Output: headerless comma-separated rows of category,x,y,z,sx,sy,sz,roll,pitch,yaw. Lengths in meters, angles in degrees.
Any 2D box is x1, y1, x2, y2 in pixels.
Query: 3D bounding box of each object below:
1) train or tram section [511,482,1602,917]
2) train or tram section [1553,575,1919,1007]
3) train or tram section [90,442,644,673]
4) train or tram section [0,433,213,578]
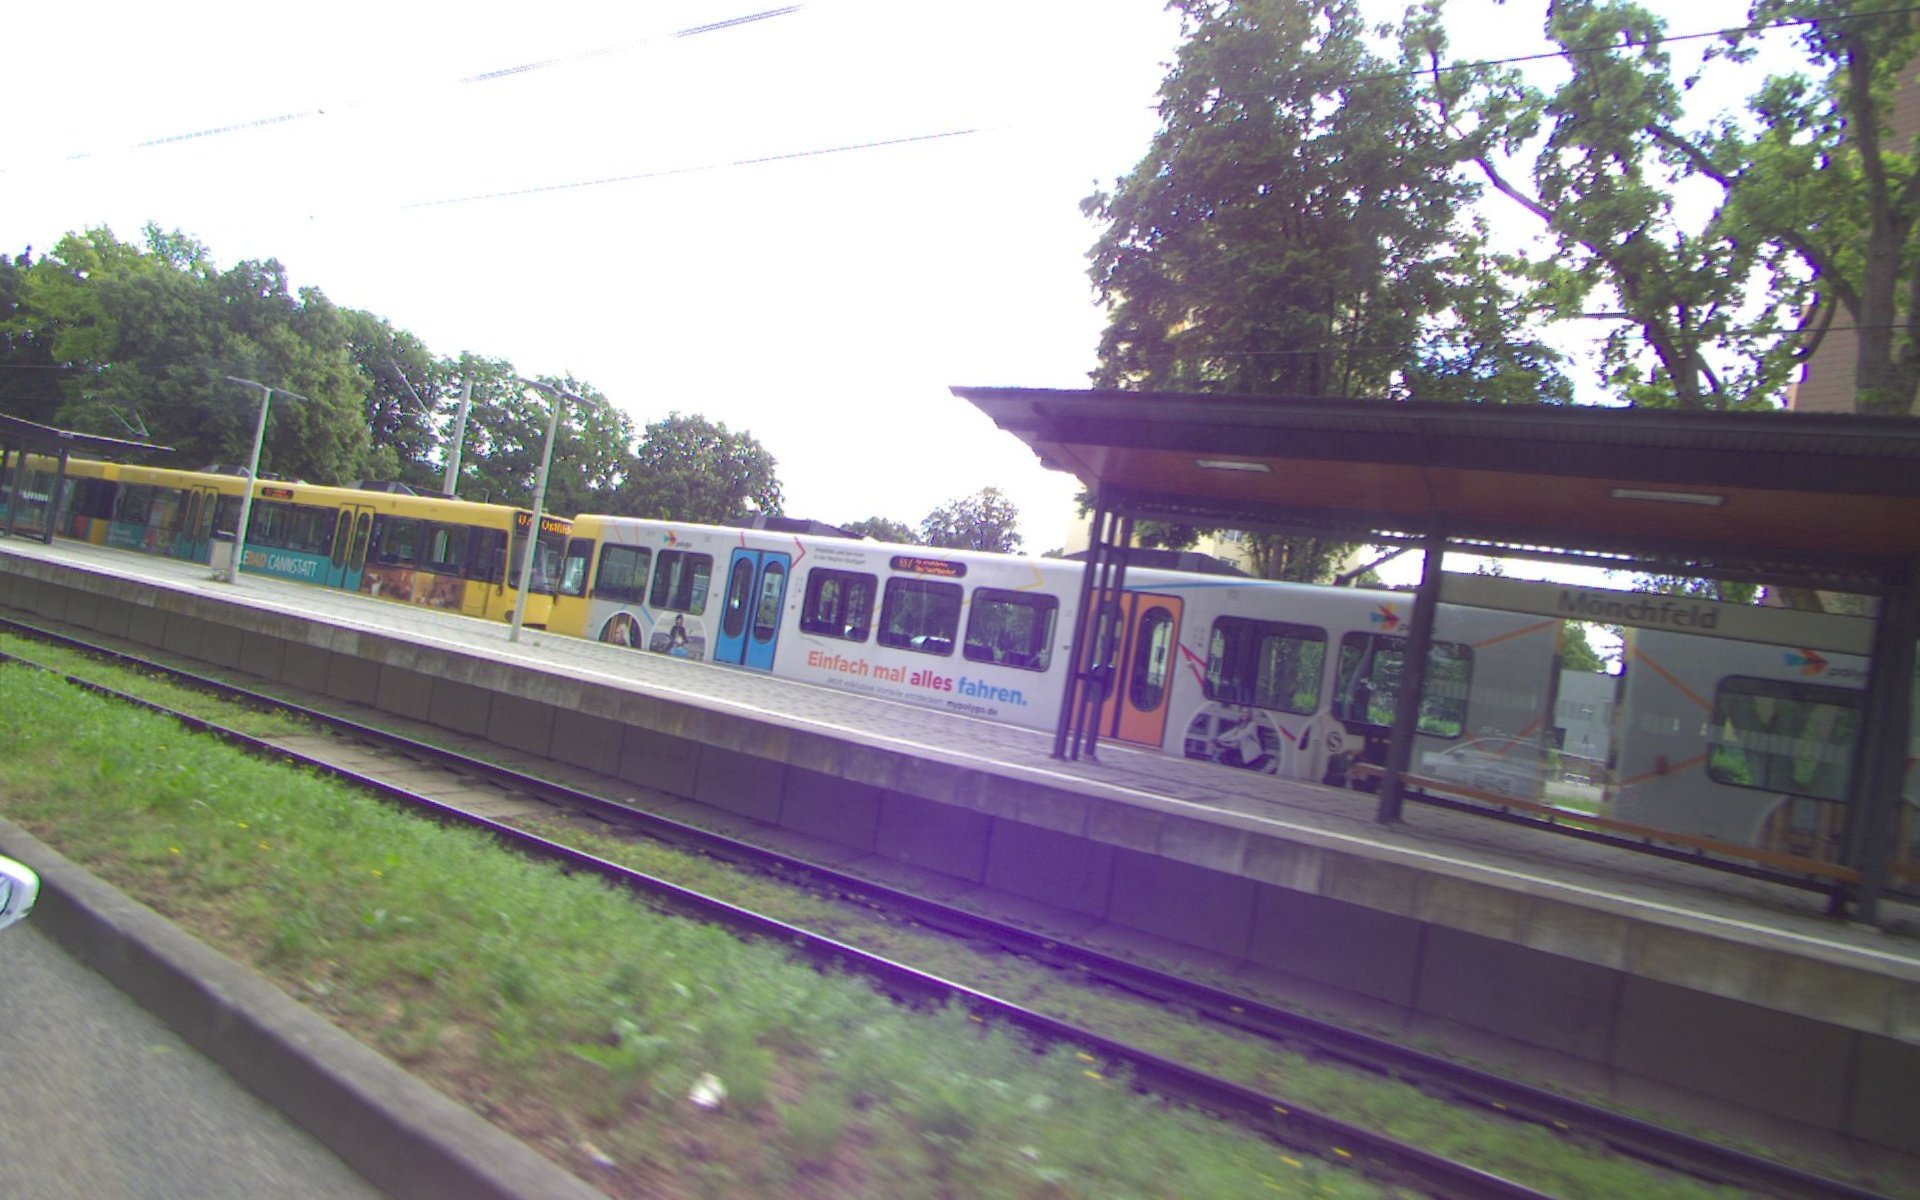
train or tram section,-0.389,0.695,17.091,18.617,3.839,2.822,8,-3,32
train or tram section,14.909,2.727,6.884,18.241,3.776,2.819,7,-3,36
train or tram section,-16.614,-1.516,26.650,19.175,3.777,2.824,8,-3,29
train or tram section,-33.488,-3.836,35.709,19.172,3.627,2.824,8,-3,28
